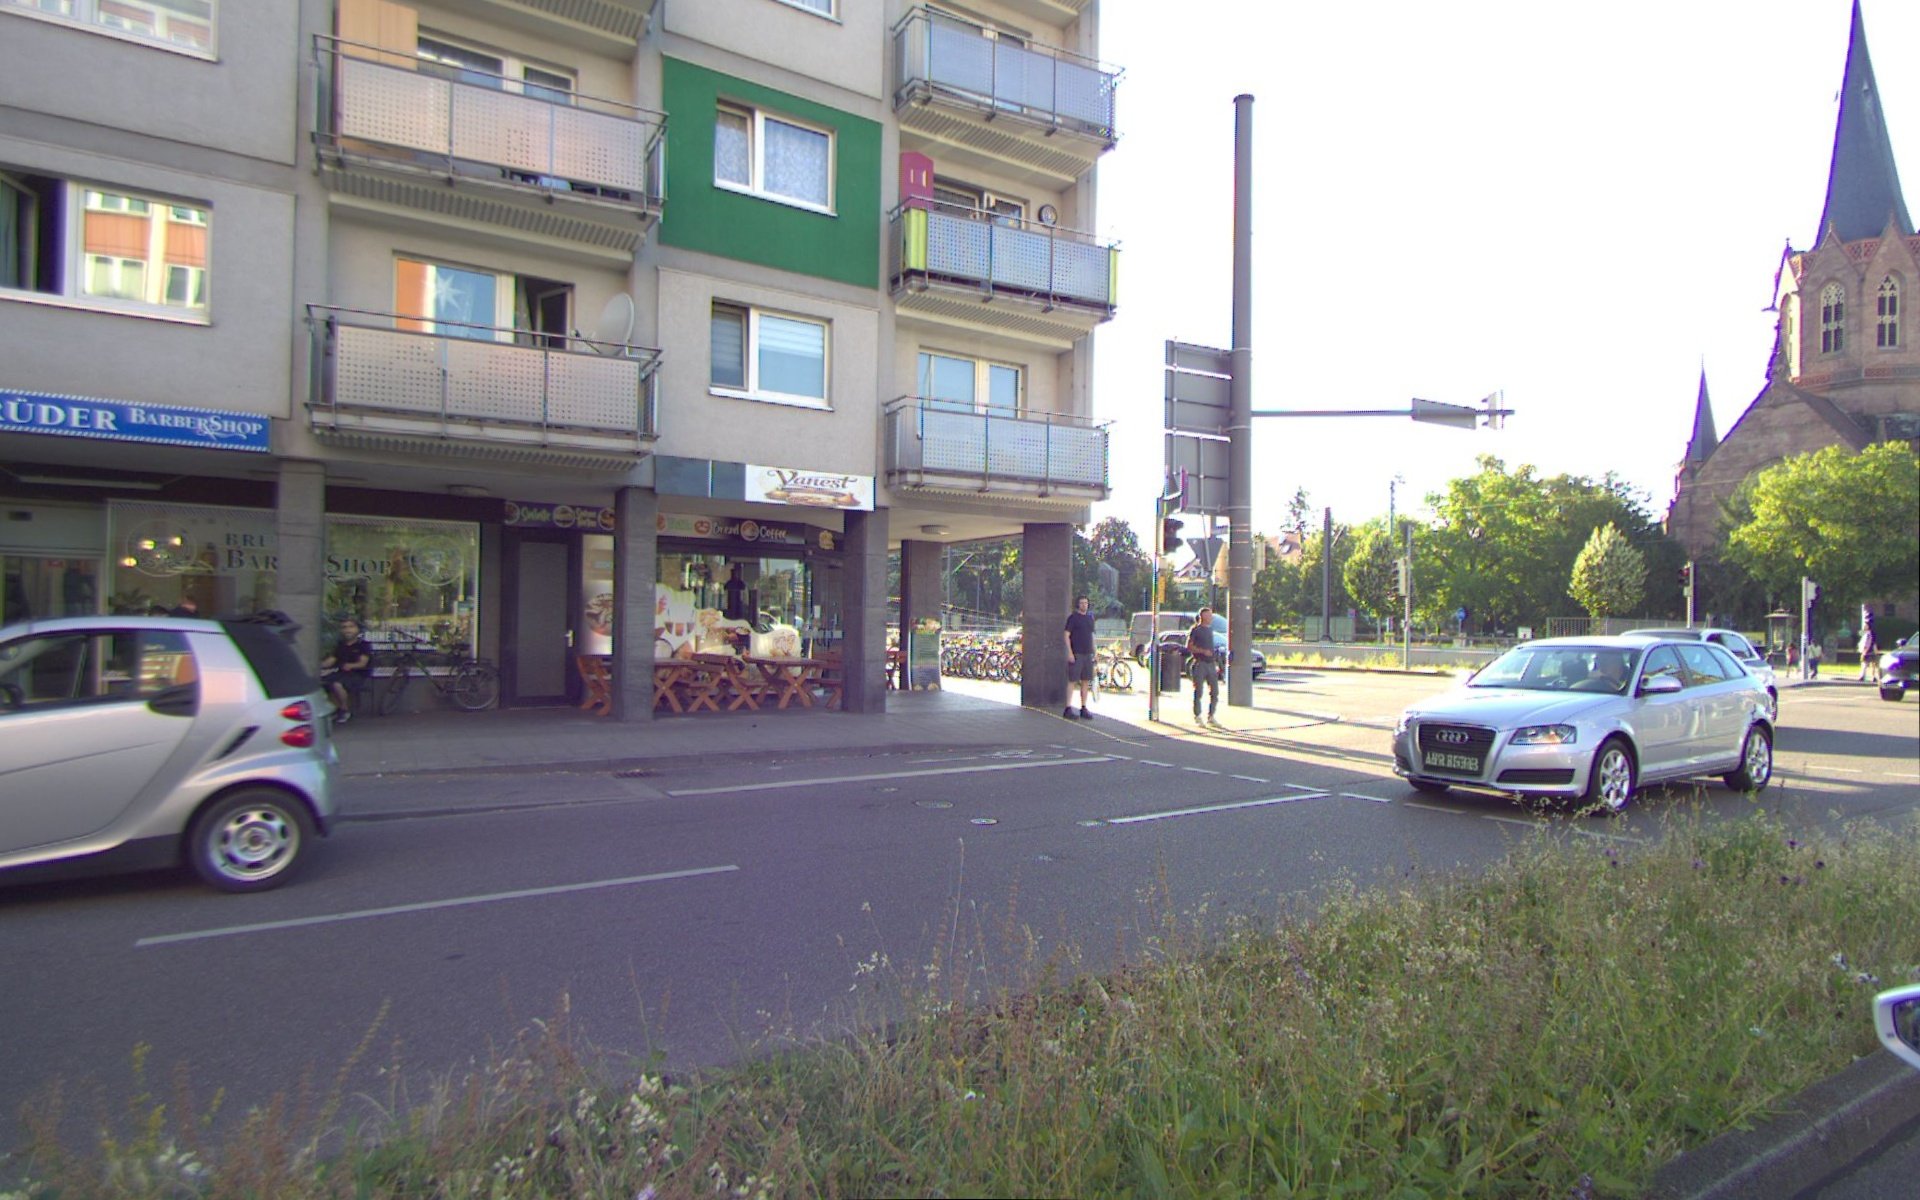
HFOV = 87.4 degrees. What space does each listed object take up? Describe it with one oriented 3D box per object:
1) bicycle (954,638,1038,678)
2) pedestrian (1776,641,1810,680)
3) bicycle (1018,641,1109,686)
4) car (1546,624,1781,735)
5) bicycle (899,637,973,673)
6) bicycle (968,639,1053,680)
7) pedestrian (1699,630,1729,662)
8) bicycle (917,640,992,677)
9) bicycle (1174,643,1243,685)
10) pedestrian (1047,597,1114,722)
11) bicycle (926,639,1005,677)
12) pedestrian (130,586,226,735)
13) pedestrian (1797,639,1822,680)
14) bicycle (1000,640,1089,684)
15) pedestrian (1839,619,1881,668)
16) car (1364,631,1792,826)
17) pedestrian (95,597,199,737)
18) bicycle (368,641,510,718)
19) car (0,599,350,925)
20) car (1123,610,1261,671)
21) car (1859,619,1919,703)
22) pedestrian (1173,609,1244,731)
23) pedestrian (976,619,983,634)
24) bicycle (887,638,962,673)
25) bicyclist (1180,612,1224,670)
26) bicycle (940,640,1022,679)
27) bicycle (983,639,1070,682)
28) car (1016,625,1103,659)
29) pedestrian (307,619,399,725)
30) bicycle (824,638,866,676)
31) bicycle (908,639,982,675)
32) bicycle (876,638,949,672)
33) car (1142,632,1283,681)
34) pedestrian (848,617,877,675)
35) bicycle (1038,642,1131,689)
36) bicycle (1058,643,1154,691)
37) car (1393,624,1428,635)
[{"bbox_3d":[1.012,1.614,27.907,2.273,1.065,0.731,2,-2,-31],"label":"bicycle"},{"bbox_3d":[38.655,2.785,46.629,0.828,1.719,1.017,2,0,17],"label":"pedestrian"},{"bbox_3d":[2.597,1.563,25.060,2.273,1.065,0.731,2,-2,-31],"label":"bicycle"},{"bbox_3d":[11.045,1.178,15.747,3.595,1.565,1.667,1,-2,-31],"label":"car"},{"bbox_3d":[-0.724,1.688,30.882,2.273,1.065,0.642,2,-2,-31],"label":"bicycle"},{"bbox_3d":[1.375,1.598,27.228,2.273,1.065,0.731,2,-2,-31],"label":"bicycle"},{"bbox_3d":[42.302,2.594,56.338,0.830,1.719,1.015,2,0,-11],"label":"pedestrian"},{"bbox_3d":[-0.153,1.730,29.865,2.273,1.065,0.558,2,-2,-31],"label":"bicycle"},{"bbox_3d":[7.004,1.784,28.401,0.940,1.112,1.769,1,-2,-30],"label":"bicycle"},{"bbox_3d":[1.900,0.924,15.858,0.802,1.900,0.605,1,2,-30],"label":"pedestrian"},{"bbox_3d":[0.173,1.696,29.279,2.273,1.065,0.731,2,-2,-31],"label":"bicycle"},{"bbox_3d":[-9.235,0.696,11.875,0.613,1.694,0.658,0,-1,24],"label":"pedestrian"},{"bbox_3d":[37.301,2.602,44.121,0.698,1.719,0.893,2,0,32],"label":"pedestrian"},{"bbox_3d":[2.174,1.579,25.727,2.273,1.065,0.731,2,-2,-31],"label":"bicycle"},{"bbox_3d":[32.839,1.581,36.659,0.803,1.762,0.960,2,-1,-31],"label":"pedestrian"},{"bbox_3d":[5.757,1.015,9.255,4.055,1.444,1.700,1,-3,-31],"label":"car"},{"bbox_3d":[-8.928,0.719,11.055,0.614,1.486,0.657,1,-1,-11],"label":"pedestrian"},{"bbox_3d":[-7.359,1.102,14.237,1.684,1.012,0.619,2,-2,-40],"label":"bicycle"},{"bbox_3d":[-5.100,0.829,5.671,2.776,1.614,1.528,1,-2,-31],"label":"car"},{"bbox_3d":[8.260,1.409,36.212,1.978,2.040,4.896,2,-2,-32],"label":"car"},{"bbox_3d":[21.893,1.302,22.078,4.730,1.733,1.807,1,-2,-31],"label":"car"},{"bbox_3d":[3.845,1.062,15.570,0.802,1.811,0.606,1,2,-27],"label":"pedestrian"},{"bbox_3d":[2.312,3.117,118.451,0.677,1.847,0.531,2,-1,-27],"label":"pedestrian"},{"bbox_3d":[-1.109,1.742,31.568,2.273,1.065,0.731,2,-2,-31],"label":"bicycle"},{"bbox_3d":[6.890,1.168,28.607,0.952,1.619,0.732,1,-2,-30],"label":"bicyclist"},{"bbox_3d":[0.610,1.682,28.598,2.273,1.065,0.731,2,-2,-31],"label":"bicycle"},{"bbox_3d":[1.760,1.588,26.538,2.273,1.065,0.731,2,-2,-31],"label":"bicycle"},{"bbox_3d":[4.271,1.801,43.545,1.781,1.392,3.880,2,-2,-32],"label":"car"},{"bbox_3d":[-7.953,0.924,13.184,0.613,1.331,0.811,0,-1,16],"label":"pedestrian"},{"bbox_3d":[-3.496,1.699,30.403,0.514,1.106,2.050,1,-2,-30],"label":"bicycle"},{"bbox_3d":[-0.447,1.719,30.373,2.273,1.065,0.558,2,-2,-31],"label":"bicycle"},{"bbox_3d":[-1.513,1.767,32.257,2.273,1.065,0.731,2,-2,-31],"label":"bicycle"},{"bbox_3d":[7.706,1.702,31.015,1.781,1.330,4.165,2,-2,-32],"label":"car"},{"bbox_3d":[-2.981,1.401,30.713,0.677,1.745,0.605,1,-1,-31],"label":"pedestrian"},{"bbox_3d":[3.033,1.577,24.377,2.273,1.065,0.731,2,-2,-31],"label":"bicycle"},{"bbox_3d":[3.457,1.571,23.694,2.273,1.065,0.731,2,-1,-31],"label":"bicycle"},{"bbox_3d":[67.673,4.379,150.956,1.985,1.592,4.411,2,-2,-41],"label":"car"}]
